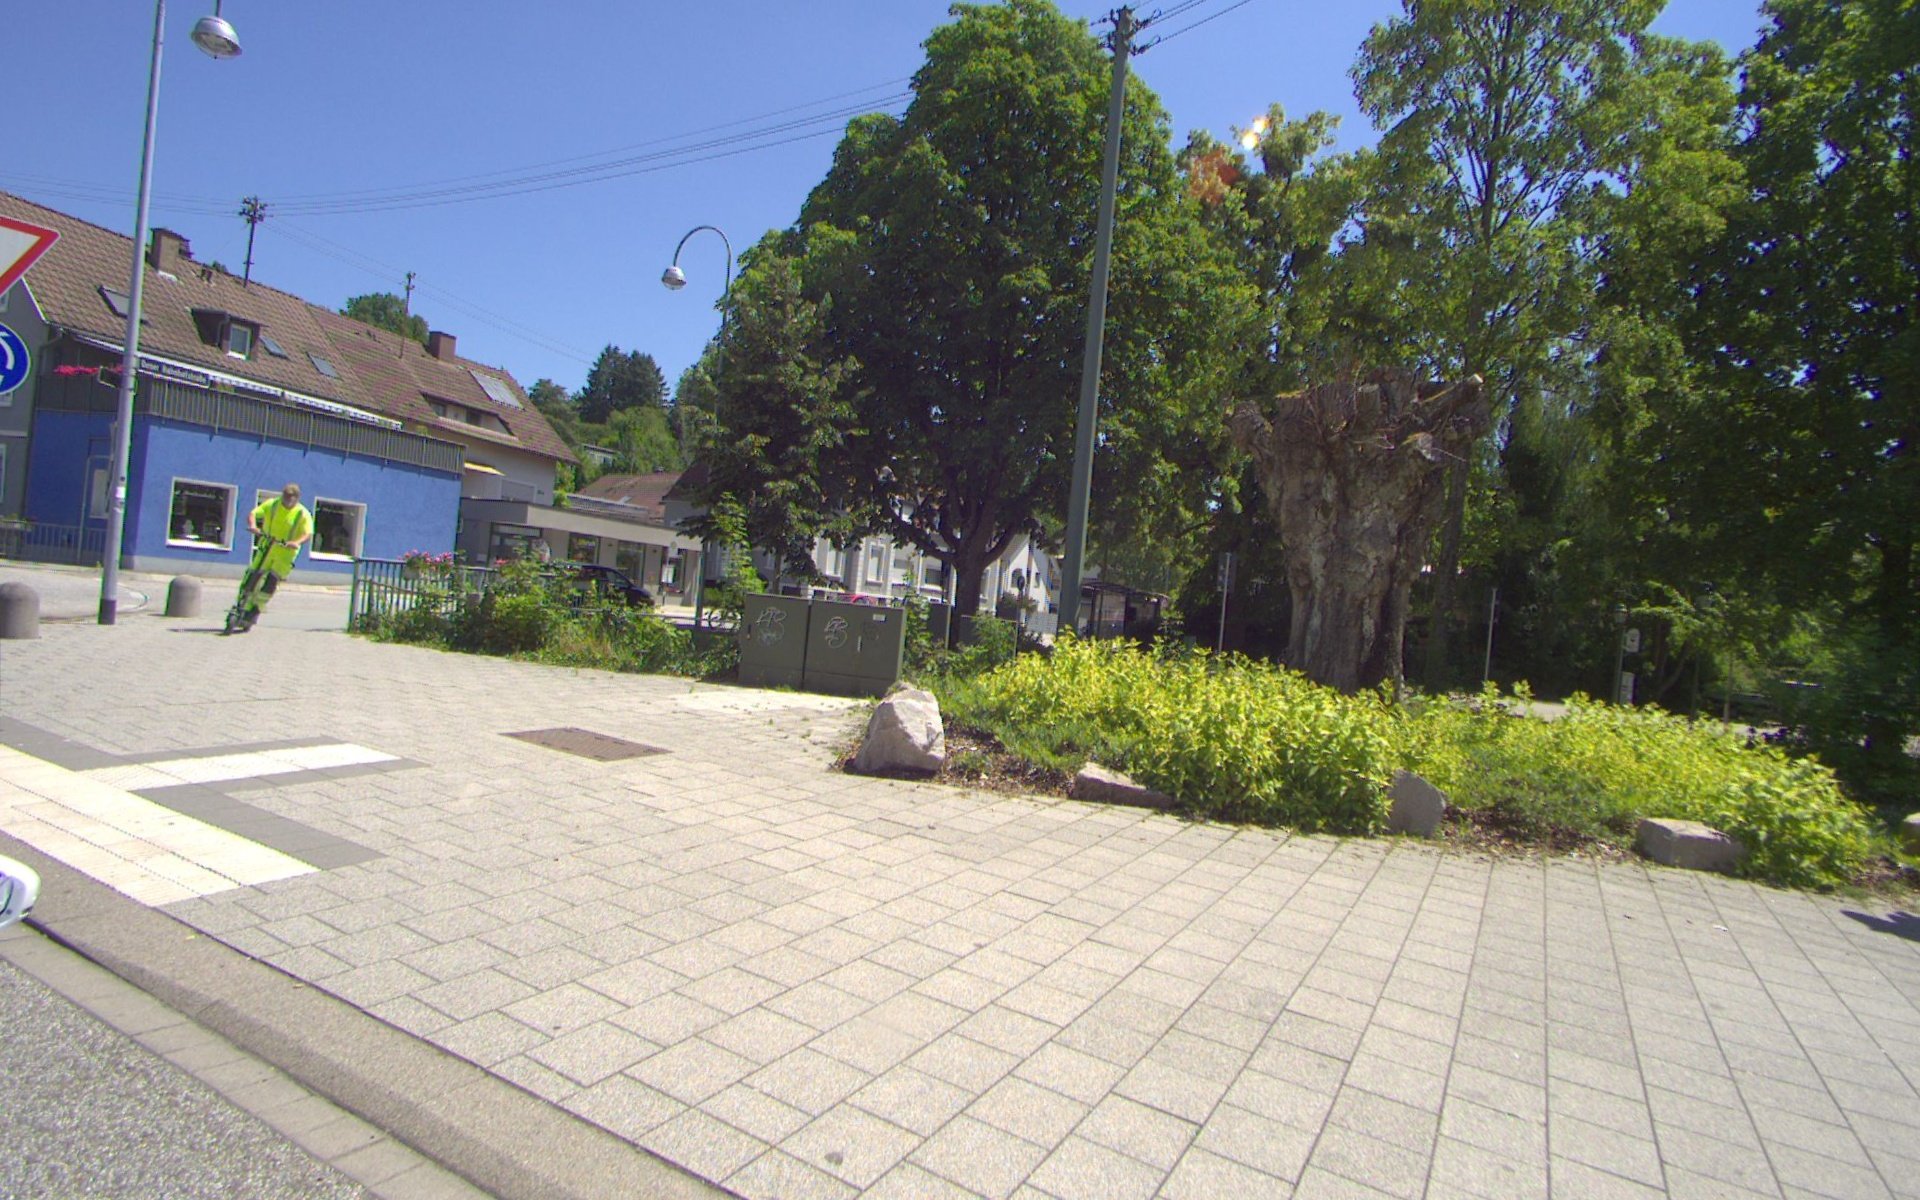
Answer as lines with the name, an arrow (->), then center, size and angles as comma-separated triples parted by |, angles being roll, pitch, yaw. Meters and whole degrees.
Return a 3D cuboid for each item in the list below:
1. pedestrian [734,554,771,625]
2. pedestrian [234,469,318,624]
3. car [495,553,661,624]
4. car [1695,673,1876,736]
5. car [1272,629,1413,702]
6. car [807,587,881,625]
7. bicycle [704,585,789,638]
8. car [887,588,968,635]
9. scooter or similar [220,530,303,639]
pedestrian -> -5.033, -0.255, 24.452 | 0.706, 1.652, 0.745 | 5, 1, -11
pedestrian -> -8.552, -0.663, 12.601 | 0.672, 1.824, 0.733 | 4, 3, -27
car -> -10.641, -0.273, 28.368 | 1.778, 1.566, 4.259 | 7, 0, 23
car -> 42.121, 5.288, 51.609 | 2.168, 2.267, 6.716 | 5, 0, -29
car -> 9.741, 1.632, 25.948 | 1.644, 1.472, 3.756 | 5, 0, -9
car -> -5.675, 0.315, 49.647 | 1.747, 1.571, 3.672 | 5, -1, 29
bicycle -> -5.179, 0.276, 24.448 | 1.815, 1.097, 0.747 | 6, 1, 0
car -> -1.497, 0.557, 47.610 | 1.733, 1.898, 4.222 | 6, 0, 30
scooter or similar -> -8.691, -0.202, 12.502 | 1.224, 1.238, 0.527 | 6, 1, 43
